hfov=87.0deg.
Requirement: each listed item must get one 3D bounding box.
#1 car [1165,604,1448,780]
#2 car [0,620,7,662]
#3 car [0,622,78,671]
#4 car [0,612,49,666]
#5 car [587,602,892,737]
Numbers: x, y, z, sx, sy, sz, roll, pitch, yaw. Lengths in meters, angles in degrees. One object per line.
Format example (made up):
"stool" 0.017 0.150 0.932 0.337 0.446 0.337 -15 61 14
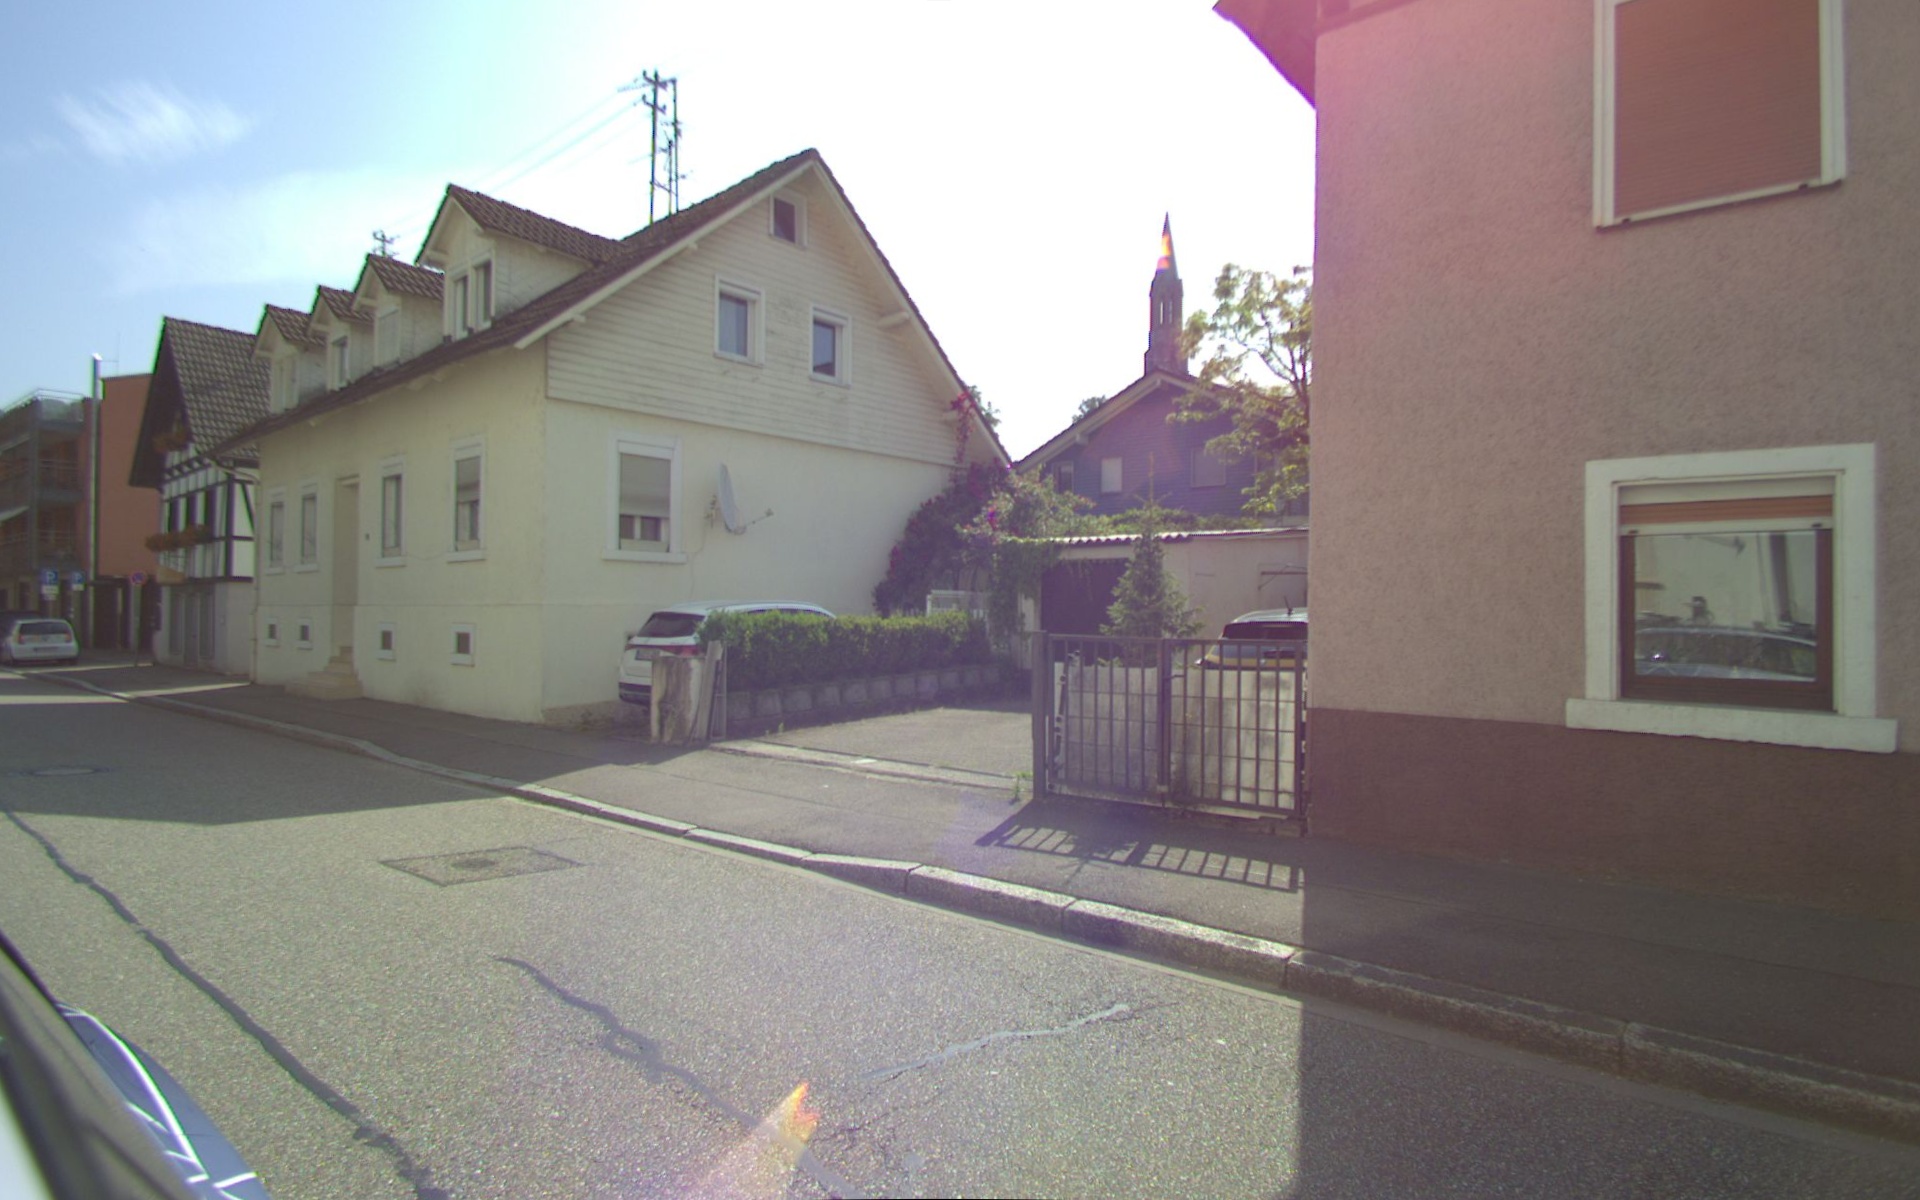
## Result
"car" 3.651 0.770 10.267 1.643 1.403 3.716 -1 0 37
"car" -38.128 1.581 38.872 3.944 1.601 1.658 -1 -1 39
"car" -29.464 1.455 32.167 3.566 1.443 1.649 -2 -1 41
"car" -33.458 1.344 35.334 4.263 1.810 1.704 -1 -2 38
"car" -2.976 0.852 14.345 1.904 1.606 3.949 -1 -1 38
